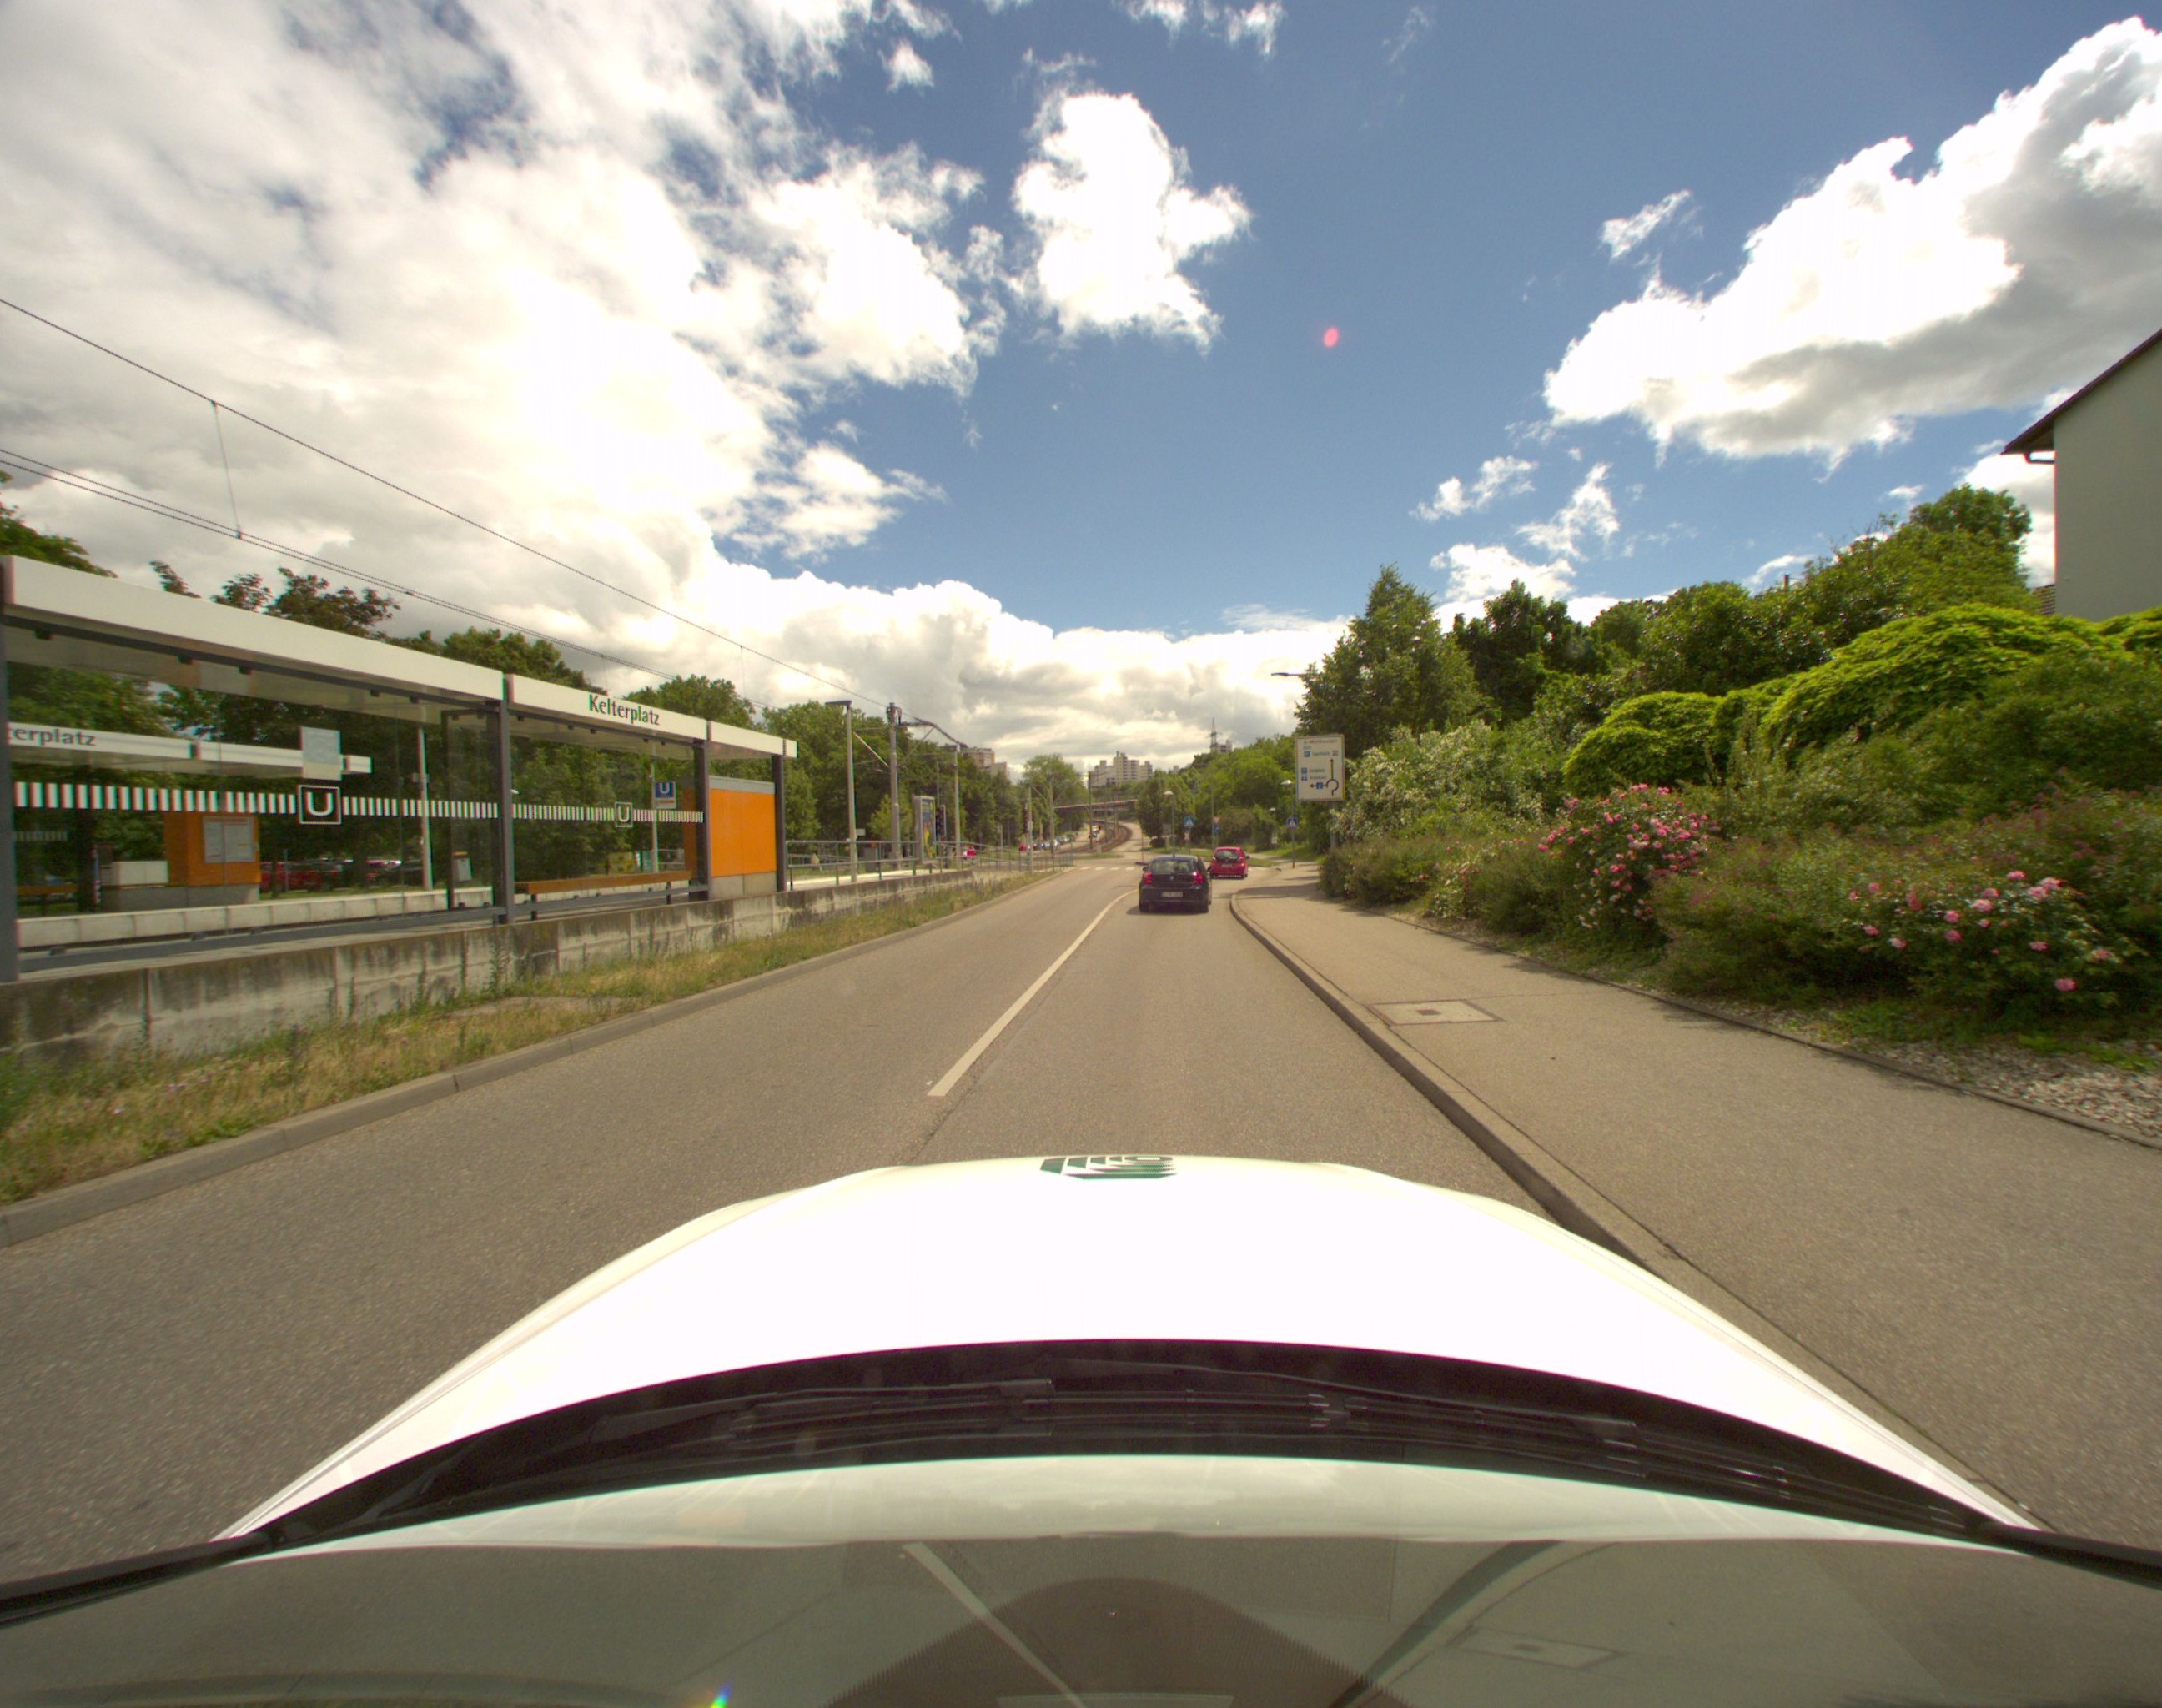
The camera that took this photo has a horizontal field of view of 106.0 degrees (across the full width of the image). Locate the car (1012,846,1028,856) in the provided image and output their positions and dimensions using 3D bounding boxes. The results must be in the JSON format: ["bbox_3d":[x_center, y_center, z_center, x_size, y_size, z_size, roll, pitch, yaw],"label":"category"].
[{"bbox_3d":[-8.388,-0.428,111.604,1.520,1.370,3.604,-1,1,7],"label":"car"}]

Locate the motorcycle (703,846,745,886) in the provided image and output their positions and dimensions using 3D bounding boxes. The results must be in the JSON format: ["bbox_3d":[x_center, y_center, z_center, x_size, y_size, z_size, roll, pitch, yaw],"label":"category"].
[{"bbox_3d":[-18.671,0.629,42.632,0.826,2.013,1.993,-1,1,20],"label":"motorcycle"}]

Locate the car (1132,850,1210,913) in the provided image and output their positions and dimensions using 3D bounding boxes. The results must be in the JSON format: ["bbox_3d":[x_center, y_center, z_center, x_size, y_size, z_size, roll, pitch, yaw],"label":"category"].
[{"bbox_3d":[2.345,0.658,21.337,1.806,1.421,4.007,-2,0,6],"label":"car"}]

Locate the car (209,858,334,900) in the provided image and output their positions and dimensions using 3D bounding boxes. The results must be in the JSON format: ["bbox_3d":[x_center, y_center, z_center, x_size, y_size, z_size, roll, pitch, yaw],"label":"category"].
[{"bbox_3d":[-36.226,1.091,36.504,3.618,1.705,2.057,-1,2,5],"label":"car"}]

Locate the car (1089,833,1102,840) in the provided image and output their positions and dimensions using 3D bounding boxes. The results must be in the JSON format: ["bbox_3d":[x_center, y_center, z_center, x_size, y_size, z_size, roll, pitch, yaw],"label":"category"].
[{"bbox_3d":[3.217,-3.872,182.618,1.981,1.597,4.434,-1,1,11],"label":"car"}]

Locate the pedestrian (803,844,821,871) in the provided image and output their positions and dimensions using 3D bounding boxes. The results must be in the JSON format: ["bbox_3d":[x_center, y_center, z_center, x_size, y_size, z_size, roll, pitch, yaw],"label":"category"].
[{"bbox_3d":[-20.451,0.292,61.930,0.951,2.013,0.827,-1,2,25],"label":"pedestrian"}]

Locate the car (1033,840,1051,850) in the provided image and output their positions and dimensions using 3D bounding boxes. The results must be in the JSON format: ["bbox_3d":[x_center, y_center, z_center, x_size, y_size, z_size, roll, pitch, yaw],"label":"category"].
[{"bbox_3d":[-5.870,-1.375,122.887,1.795,1.254,3.578,-1,2,10],"label":"car"}]

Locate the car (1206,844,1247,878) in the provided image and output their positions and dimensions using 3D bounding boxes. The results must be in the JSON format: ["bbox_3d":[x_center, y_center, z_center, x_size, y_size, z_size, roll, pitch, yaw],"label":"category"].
[{"bbox_3d":[6.881,0.295,38.288,1.754,1.432,3.490,-2,0,12],"label":"car"}]

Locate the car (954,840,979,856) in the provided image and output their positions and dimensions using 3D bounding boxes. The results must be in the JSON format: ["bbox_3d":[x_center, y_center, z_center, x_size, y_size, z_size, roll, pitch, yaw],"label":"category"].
[{"bbox_3d":[-11.937,-0.639,85.395,1.709,1.502,2.975,-1,1,10],"label":"car"}]

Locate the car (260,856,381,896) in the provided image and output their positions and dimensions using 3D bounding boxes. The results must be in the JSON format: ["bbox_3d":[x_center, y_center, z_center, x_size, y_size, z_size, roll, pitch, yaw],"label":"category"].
[{"bbox_3d":[-36.180,1.022,38.812,3.967,1.684,1.978,-1,2,5],"label":"car"}]

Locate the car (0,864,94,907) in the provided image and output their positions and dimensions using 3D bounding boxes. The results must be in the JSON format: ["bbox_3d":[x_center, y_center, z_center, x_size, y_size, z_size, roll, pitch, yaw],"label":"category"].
[{"bbox_3d":[-47.232,1.411,36.453,3.960,1.727,2.198,-1,2,12],"label":"car"}]

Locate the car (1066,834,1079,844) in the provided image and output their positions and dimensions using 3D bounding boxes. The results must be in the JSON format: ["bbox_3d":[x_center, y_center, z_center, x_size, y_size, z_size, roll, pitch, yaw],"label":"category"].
[{"bbox_3d":[-1.648,-2.906,159.550,1.981,1.862,4.011,-1,2,9],"label":"car"}]
